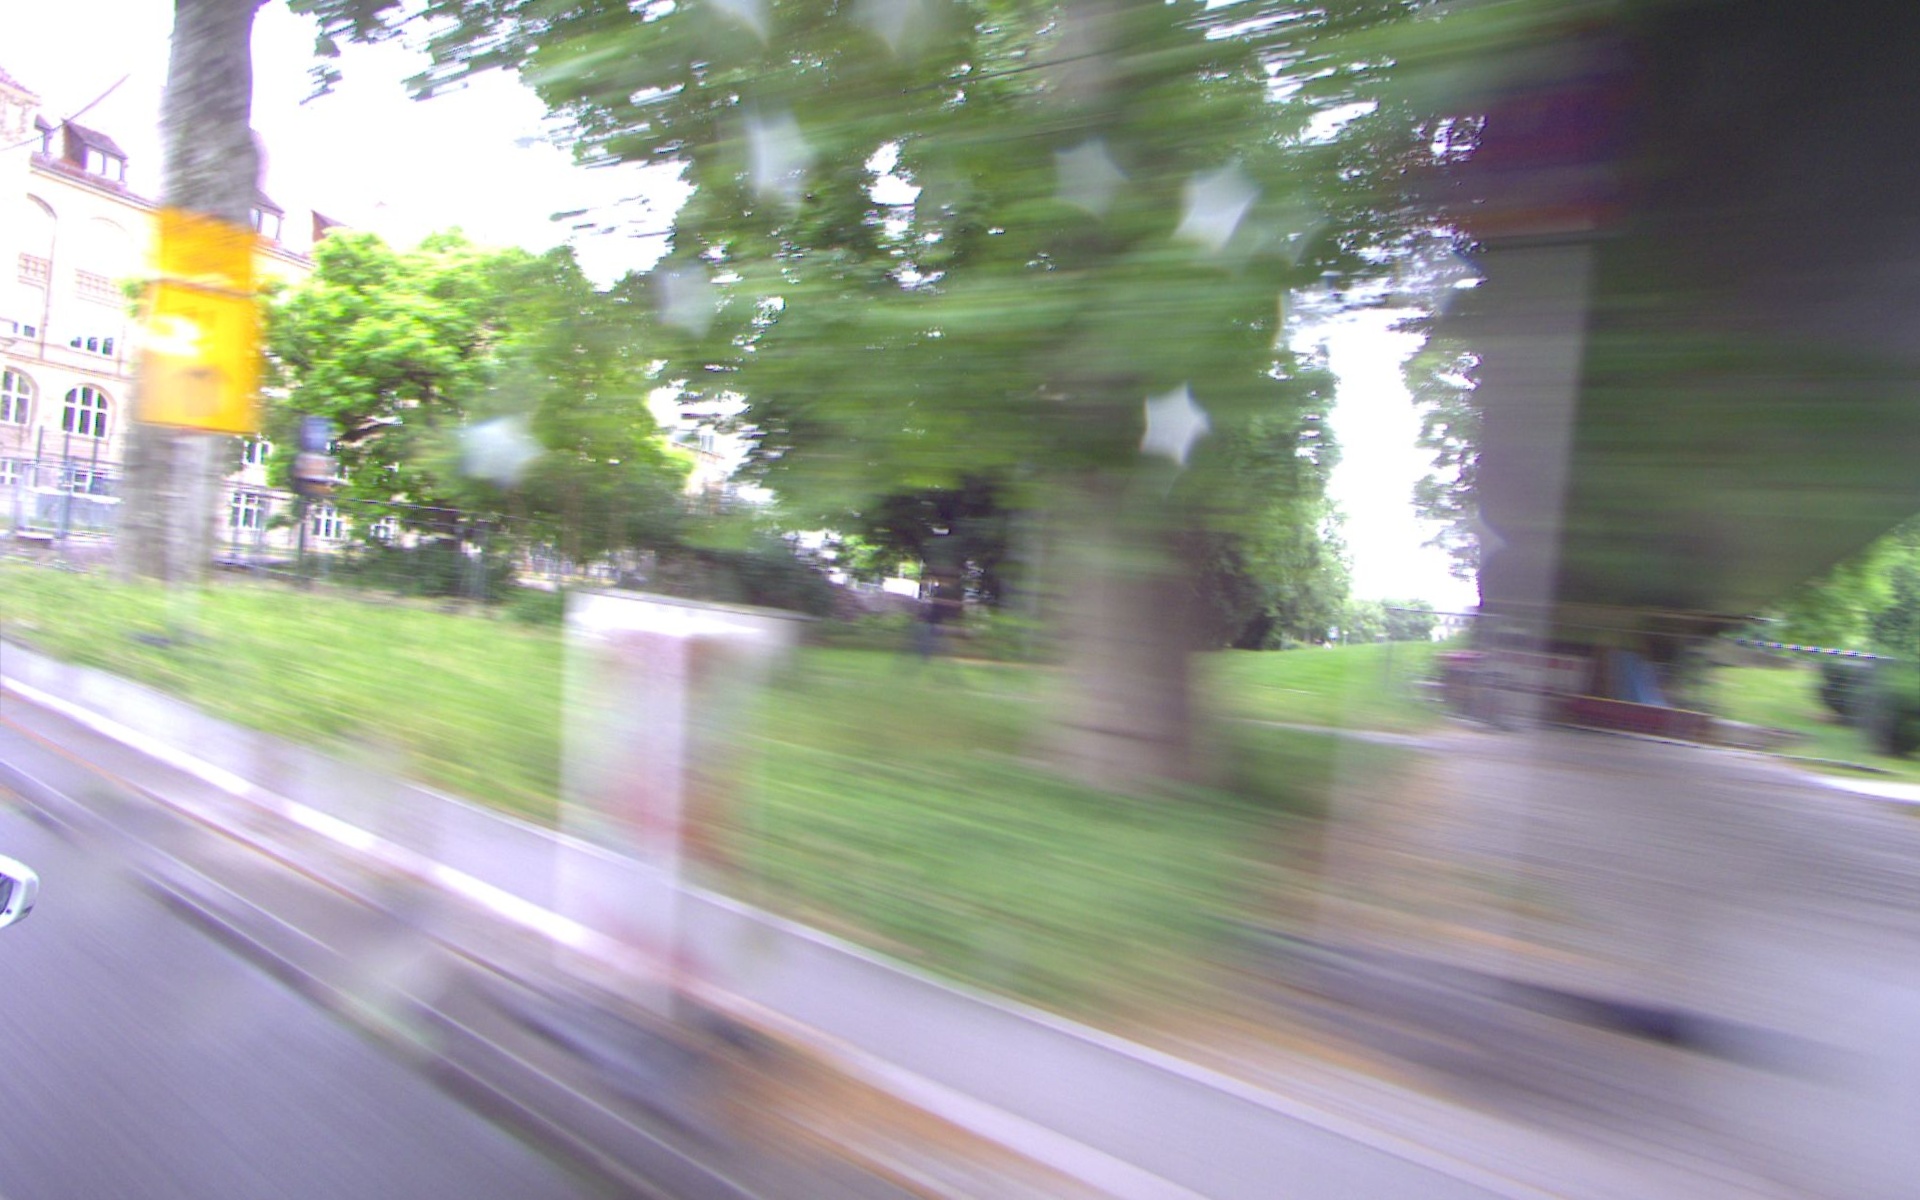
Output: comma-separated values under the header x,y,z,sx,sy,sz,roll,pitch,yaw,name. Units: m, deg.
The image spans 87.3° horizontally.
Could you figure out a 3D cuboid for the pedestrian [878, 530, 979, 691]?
x,y,z,sx,sy,sz,roll,pitch,yaw,name
-0.454,0.139,13.902,1.022,2.039,1.050,7,1,-11,pedestrian
